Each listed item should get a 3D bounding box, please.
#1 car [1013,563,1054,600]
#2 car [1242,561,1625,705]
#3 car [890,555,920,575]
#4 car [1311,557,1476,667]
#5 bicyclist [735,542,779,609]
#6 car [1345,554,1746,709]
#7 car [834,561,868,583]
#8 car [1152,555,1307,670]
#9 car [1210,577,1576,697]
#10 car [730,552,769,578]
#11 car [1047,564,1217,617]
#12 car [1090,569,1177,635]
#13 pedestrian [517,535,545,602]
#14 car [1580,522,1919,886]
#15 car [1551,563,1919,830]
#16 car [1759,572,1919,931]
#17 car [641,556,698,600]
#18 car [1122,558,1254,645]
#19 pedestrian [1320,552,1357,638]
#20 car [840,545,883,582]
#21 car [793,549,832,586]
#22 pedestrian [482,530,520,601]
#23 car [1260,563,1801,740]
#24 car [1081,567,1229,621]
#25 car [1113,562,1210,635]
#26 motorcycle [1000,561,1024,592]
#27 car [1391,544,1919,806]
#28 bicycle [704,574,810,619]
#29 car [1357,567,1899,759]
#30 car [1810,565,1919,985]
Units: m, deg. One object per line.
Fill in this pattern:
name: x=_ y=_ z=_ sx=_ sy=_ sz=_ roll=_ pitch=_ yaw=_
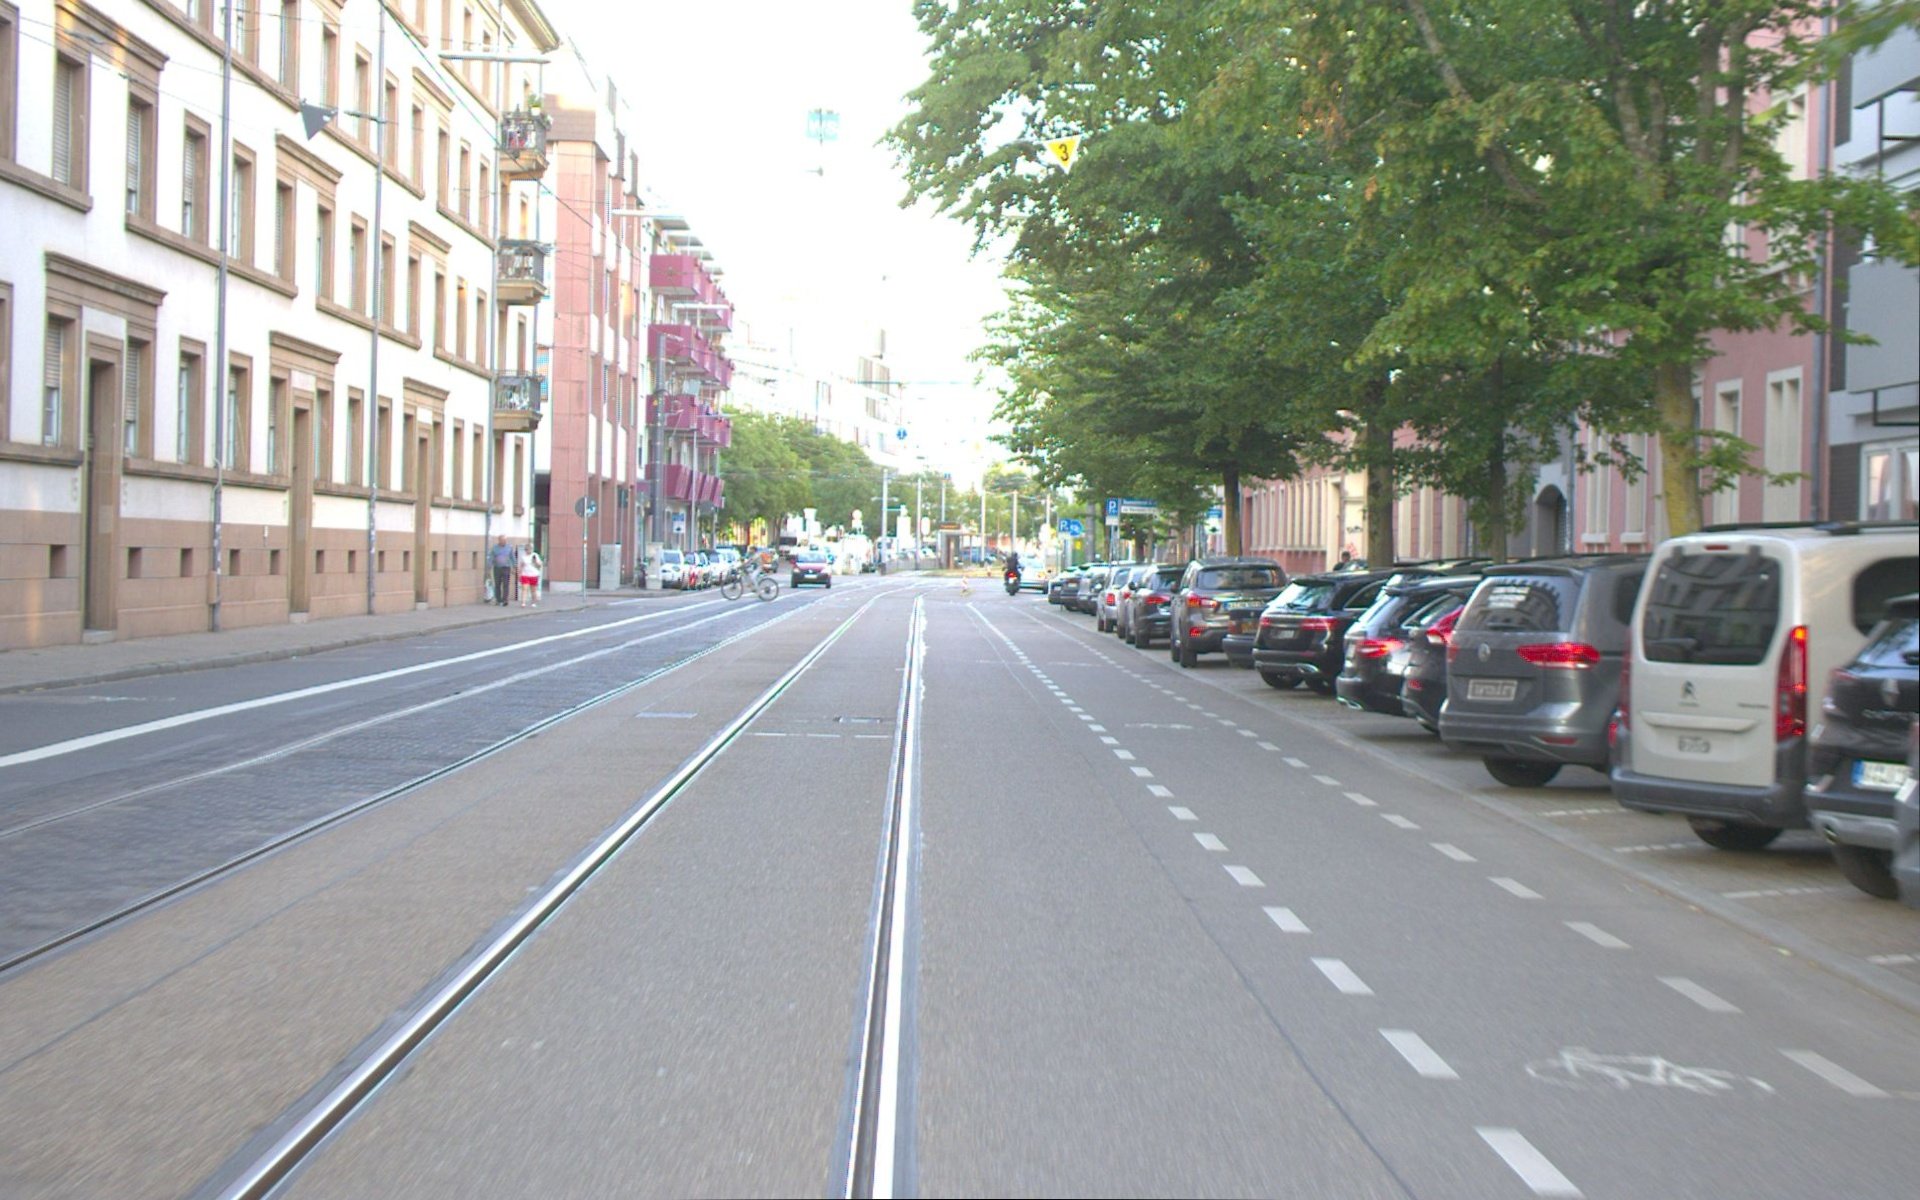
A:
car: x=3.177 y=-0.812 z=148.883 sx=1.717 sy=1.550 sz=4.204 roll=2 pitch=1 yaw=1
car: x=5.390 y=0.349 z=39.255 sx=3.960 sy=1.548 sz=1.720 roll=0 pitch=2 yaw=-18
car: x=-4.072 y=-2.611 z=255.975 sx=1.683 sy=1.434 sz=4.125 roll=1 pitch=1 yaw=7
car: x=6.500 y=0.149 z=51.900 sx=1.879 sy=1.578 sz=4.021 roll=1 pitch=1 yaw=-1
bicyclist: x=-6.270 y=-0.758 z=105.974 sx=1.214 sy=2.007 sz=0.947 roll=2 pitch=1 yaw=-9
car: x=6.389 y=0.308 z=37.553 sx=3.986 sy=1.588 sz=1.720 roll=0 pitch=2 yaw=-21
car: x=-7.331 y=-1.901 z=231.014 sx=1.683 sy=1.434 sz=4.125 roll=1 pitch=1 yaw=7
car: x=3.997 y=0.154 z=51.657 sx=1.879 sy=1.612 sz=4.262 roll=-1 pitch=1 yaw=-1
car: x=5.329 y=0.455 z=42.230 sx=4.248 sy=1.383 sz=1.621 roll=1 pitch=1 yaw=-26
car: x=-13.887 y=-2.291 z=226.729 sx=1.683 sy=1.694 sz=4.238 roll=1 pitch=1 yaw=8
car: x=4.965 y=-0.285 z=99.342 sx=4.443 sy=1.511 sz=2.064 roll=0 pitch=1 yaw=-23
car: x=3.718 y=0.022 z=74.069 sx=1.619 sy=1.376 sz=3.776 roll=-1 pitch=1 yaw=-1
pedestrian: x=-10.311 y=-0.757 z=82.631 sx=0.590 sy=1.604 sz=0.811 roll=1 pitch=0 yaw=-3
car: x=5.586 y=0.479 z=18.728 sx=3.986 sy=1.809 sz=1.825 roll=-1 pitch=1 yaw=-22
car: x=5.938 y=0.565 z=21.805 sx=3.986 sy=1.561 sz=1.720 roll=0 pitch=1 yaw=-22
car: x=5.959 y=0.698 z=16.165 sx=3.986 sy=1.561 sz=1.720 roll=1 pitch=1 yaw=-22
car: x=-10.817 y=-0.835 z=128.170 sx=1.717 sy=1.550 sz=4.204 roll=3 pitch=1 yaw=0
car: x=4.001 y=0.003 z=61.053 sx=1.993 sy=1.484 sz=5.036 roll=0 pitch=1 yaw=0
pedestrian: x=8.017 y=-0.107 z=72.759 sx=0.680 sy=1.810 sz=0.600 roll=1 pitch=0 yaw=0
car: x=-6.781 y=-2.514 z=236.687 sx=2.461 sy=2.474 sz=5.808 roll=1 pitch=1 yaw=3
car: x=-6.208 y=-1.374 z=144.326 sx=1.559 sy=1.553 sz=3.755 roll=0 pitch=1 yaw=-3
pedestrian: x=-11.038 y=-0.837 z=82.747 sx=0.795 sy=1.696 sz=0.981 roll=1 pitch=0 yaw=-3
car: x=5.001 y=0.414 z=30.205 sx=4.375 sy=1.459 sz=1.720 roll=0 pitch=1 yaw=-18
car: x=5.191 y=-0.171 z=91.578 sx=3.554 sy=1.424 sz=1.669 roll=0 pitch=1 yaw=-25
car: x=3.966 y=-0.057 z=68.259 sx=1.780 sy=1.376 sz=4.691 roll=-1 pitch=1 yaw=2
motorcycle: x=2.087 y=-0.953 z=138.165 sx=0.828 sy=1.236 sz=2.491 roll=1 pitch=1 yaw=3
car: x=5.293 y=0.462 z=23.875 sx=4.177 sy=1.690 sz=1.847 roll=0 pitch=1 yaw=-21
bicycle: x=-6.249 y=-0.101 z=105.984 sx=3.170 sy=1.349 sz=0.958 roll=1 pitch=0 yaw=-9
car: x=5.418 y=0.476 z=27.967 sx=3.986 sy=1.459 sz=1.720 roll=0 pitch=1 yaw=-18
car: x=5.480 y=0.684 z=13.119 sx=3.986 sy=1.535 sz=1.780 roll=1 pitch=1 yaw=-20
